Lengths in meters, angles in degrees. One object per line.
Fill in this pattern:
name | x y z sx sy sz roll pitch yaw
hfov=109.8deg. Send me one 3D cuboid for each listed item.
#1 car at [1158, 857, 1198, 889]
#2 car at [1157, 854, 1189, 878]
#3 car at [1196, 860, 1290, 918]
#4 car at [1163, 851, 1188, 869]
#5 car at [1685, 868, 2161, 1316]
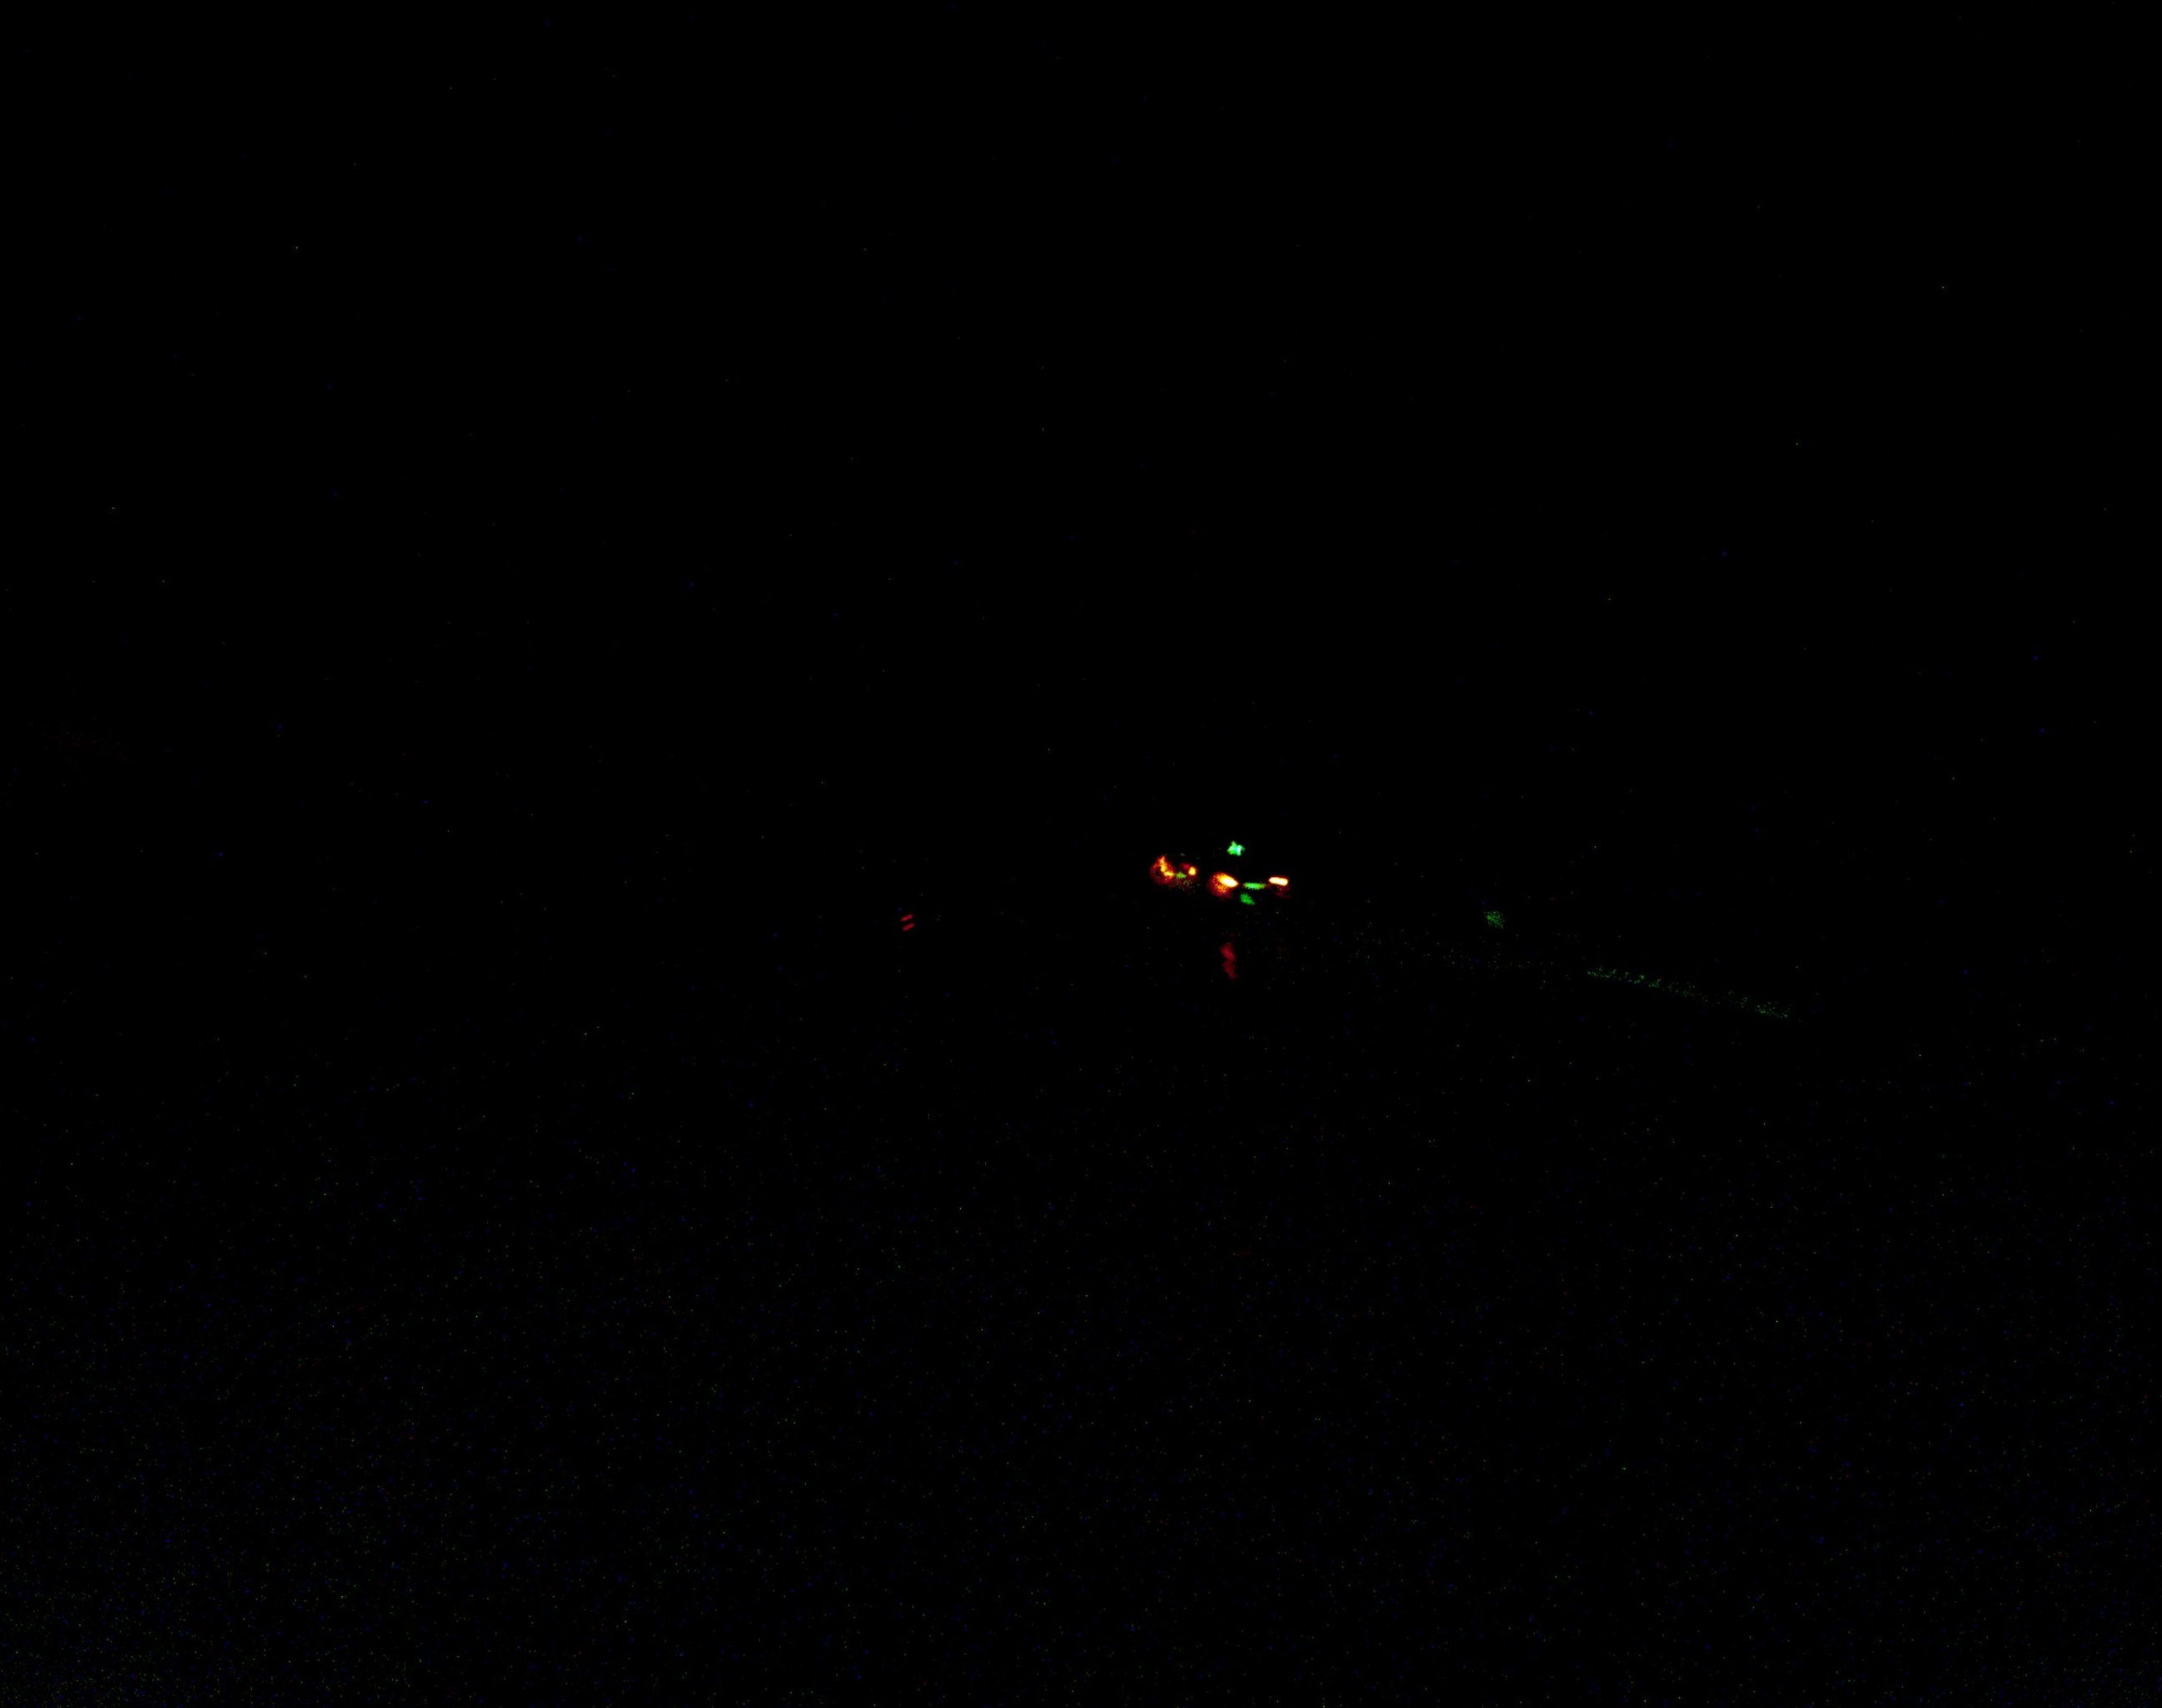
car | 4.720 0.885 37.399 1.775 1.381 4.234 -2 1 5
car | 5.847 0.749 48.489 1.775 1.381 4.113 -2 1 4
car | 4.486 0.918 21.641 1.776 1.381 4.232 -2 1 0
car | 8.141 0.486 65.466 1.774 1.475 4.384 -1 1 11
car | 4.444 0.810 2.337 1.776 1.381 4.033 -2 1 -4
